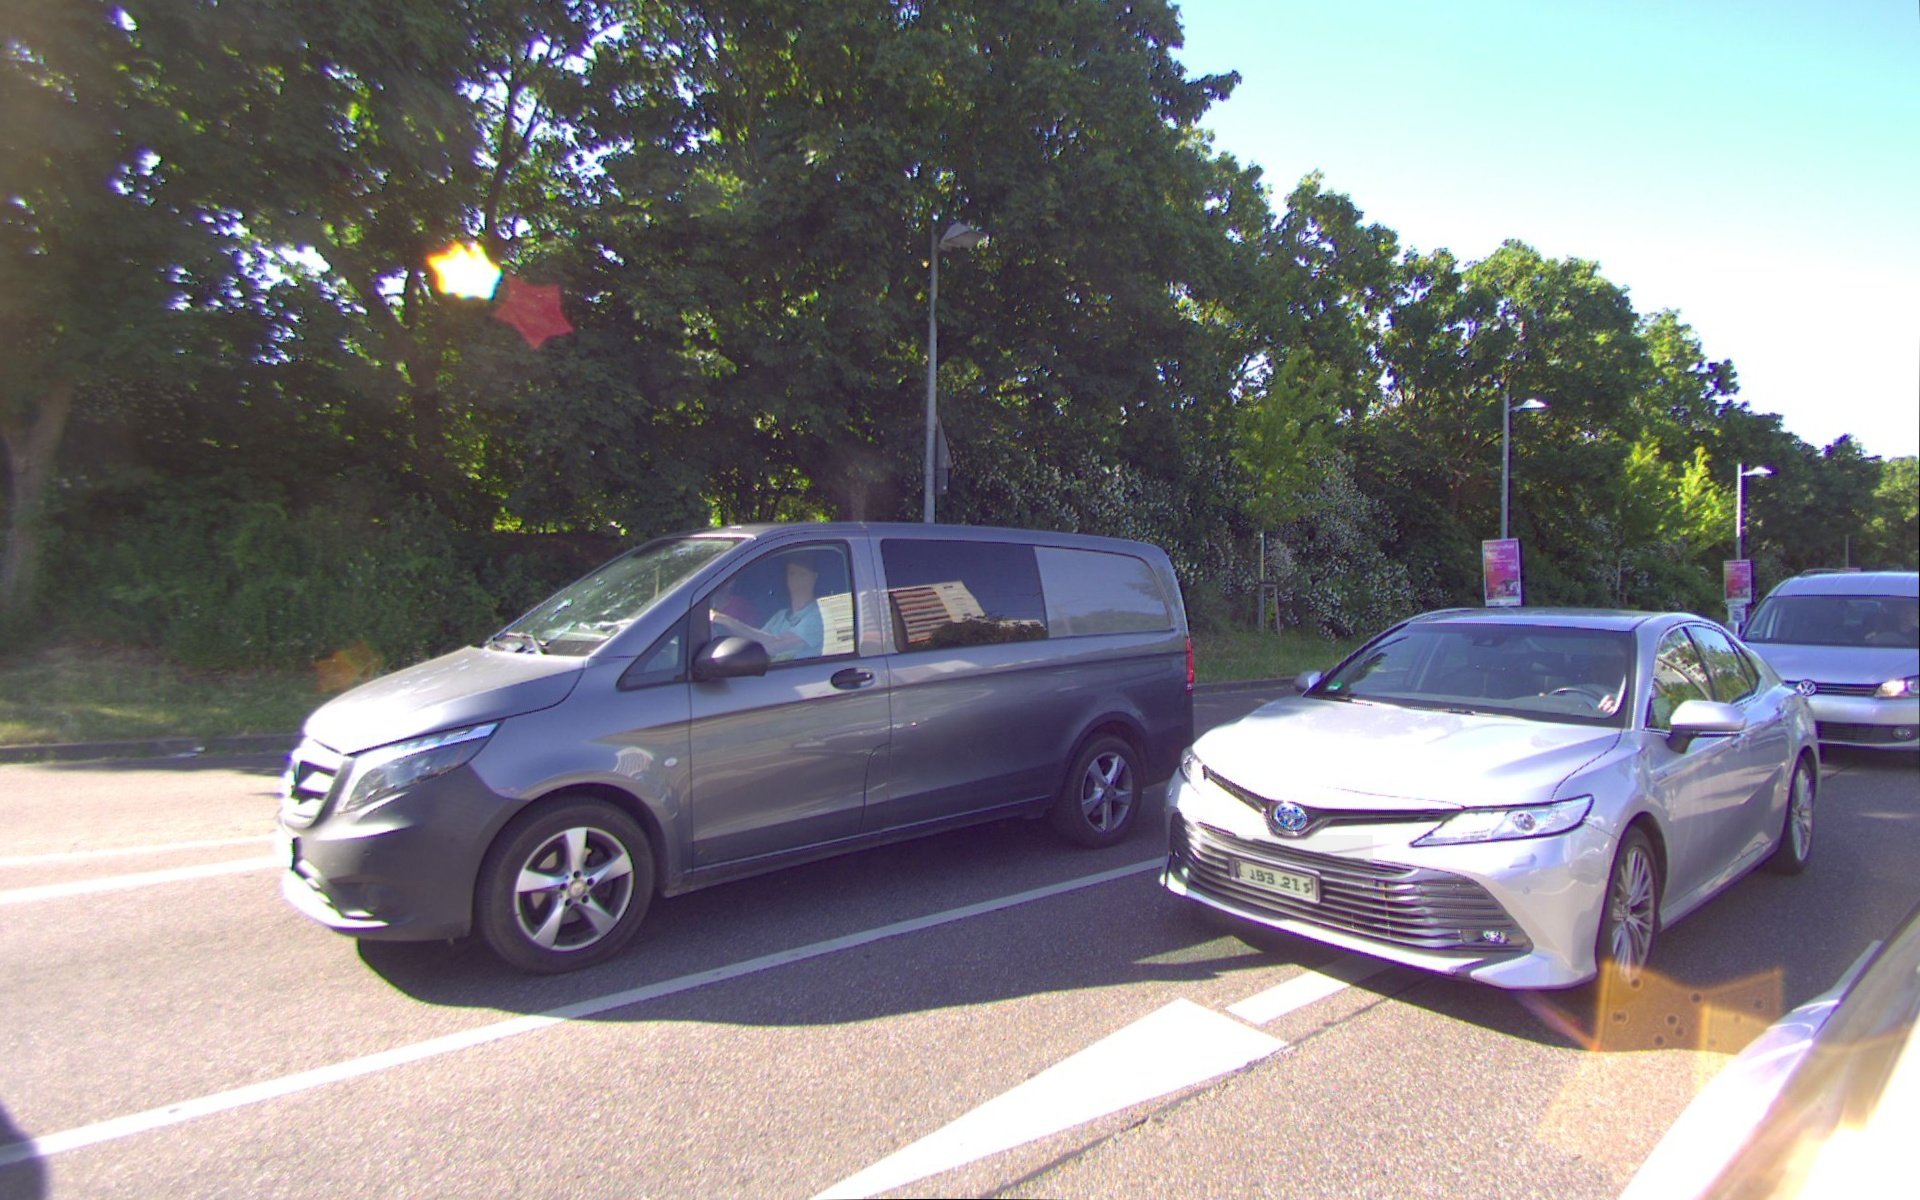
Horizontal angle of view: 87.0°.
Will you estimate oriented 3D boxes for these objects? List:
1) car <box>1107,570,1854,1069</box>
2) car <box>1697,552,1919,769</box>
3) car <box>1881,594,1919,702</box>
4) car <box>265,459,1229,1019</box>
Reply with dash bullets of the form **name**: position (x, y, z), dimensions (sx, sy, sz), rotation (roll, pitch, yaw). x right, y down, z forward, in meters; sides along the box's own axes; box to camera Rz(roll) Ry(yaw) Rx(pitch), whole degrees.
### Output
- **car**: position (2.984, 0.663, 5.251), dimensions (4.599, 1.512, 1.808), rotation (0, 0, -40)
- **car**: position (9.500, 0.484, 10.551), dimensions (4.504, 1.844, 1.809), rotation (-1, 1, -39)
- **car**: position (14.991, 0.675, 14.919), dimensions (4.126, 1.472, 1.715), rotation (0, 1, -43)
- **car**: position (-0.784, 0.435, 5.672), dimensions (5.011, 1.875, 1.809), rotation (0, 2, -39)
